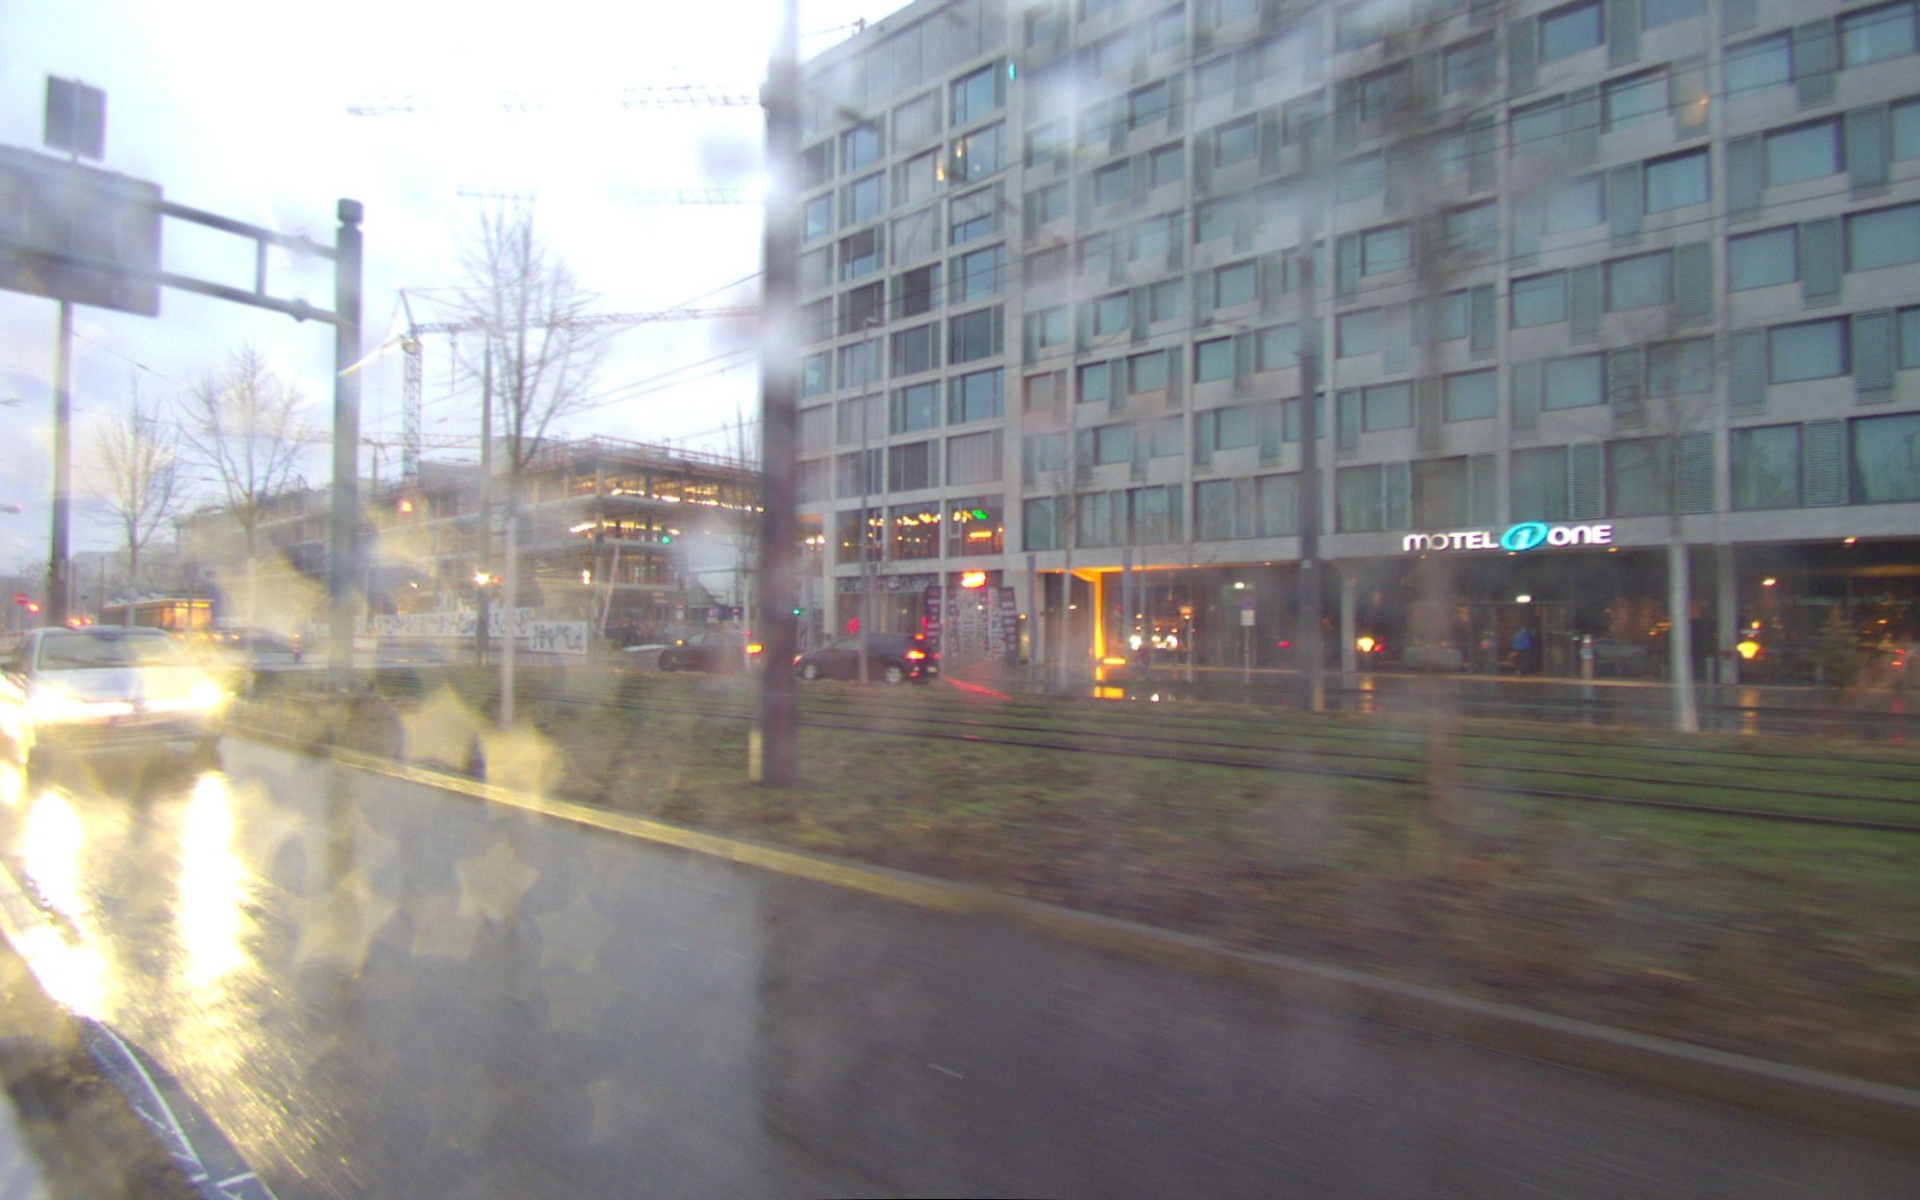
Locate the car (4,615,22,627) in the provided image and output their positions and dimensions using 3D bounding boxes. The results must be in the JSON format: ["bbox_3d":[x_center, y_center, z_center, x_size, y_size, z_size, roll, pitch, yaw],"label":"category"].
[{"bbox_3d":[-175.454,3.917,187.554,3.998,2.029,1.973,-2,-3,41],"label":"car"}]

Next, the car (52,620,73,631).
[{"bbox_3d":[-152.722,4.360,172.262,3.994,1.837,1.975,-1,-2,38],"label":"car"}]

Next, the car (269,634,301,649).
[{"bbox_3d":[-71.189,4.368,106.738,4.001,1.577,1.971,-2,-3,44],"label":"car"}]

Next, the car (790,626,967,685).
[{"bbox_3d":[-2.223,1.465,27.530,4.425,1.508,1.983,-1,-2,26],"label":"car"}]

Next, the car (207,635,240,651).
[{"bbox_3d":[-75.092,4.368,103.134,4.001,1.577,1.971,-2,-3,44],"label":"car"}]

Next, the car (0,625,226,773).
[{"bbox_3d":[-10.060,1.007,11.767,3.981,1.381,1.743,-1,-1,43],"label":"car"}]

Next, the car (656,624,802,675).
[{"bbox_3d":[-7.350,1.515,31.915,5.032,1.479,1.972,-2,-3,42],"label":"car"}]

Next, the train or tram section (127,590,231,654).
[{"bbox_3d":[-48.115,1.395,62.086,14.269,3.513,2.924,-2,-3,44],"label":"train or tram section"}]
